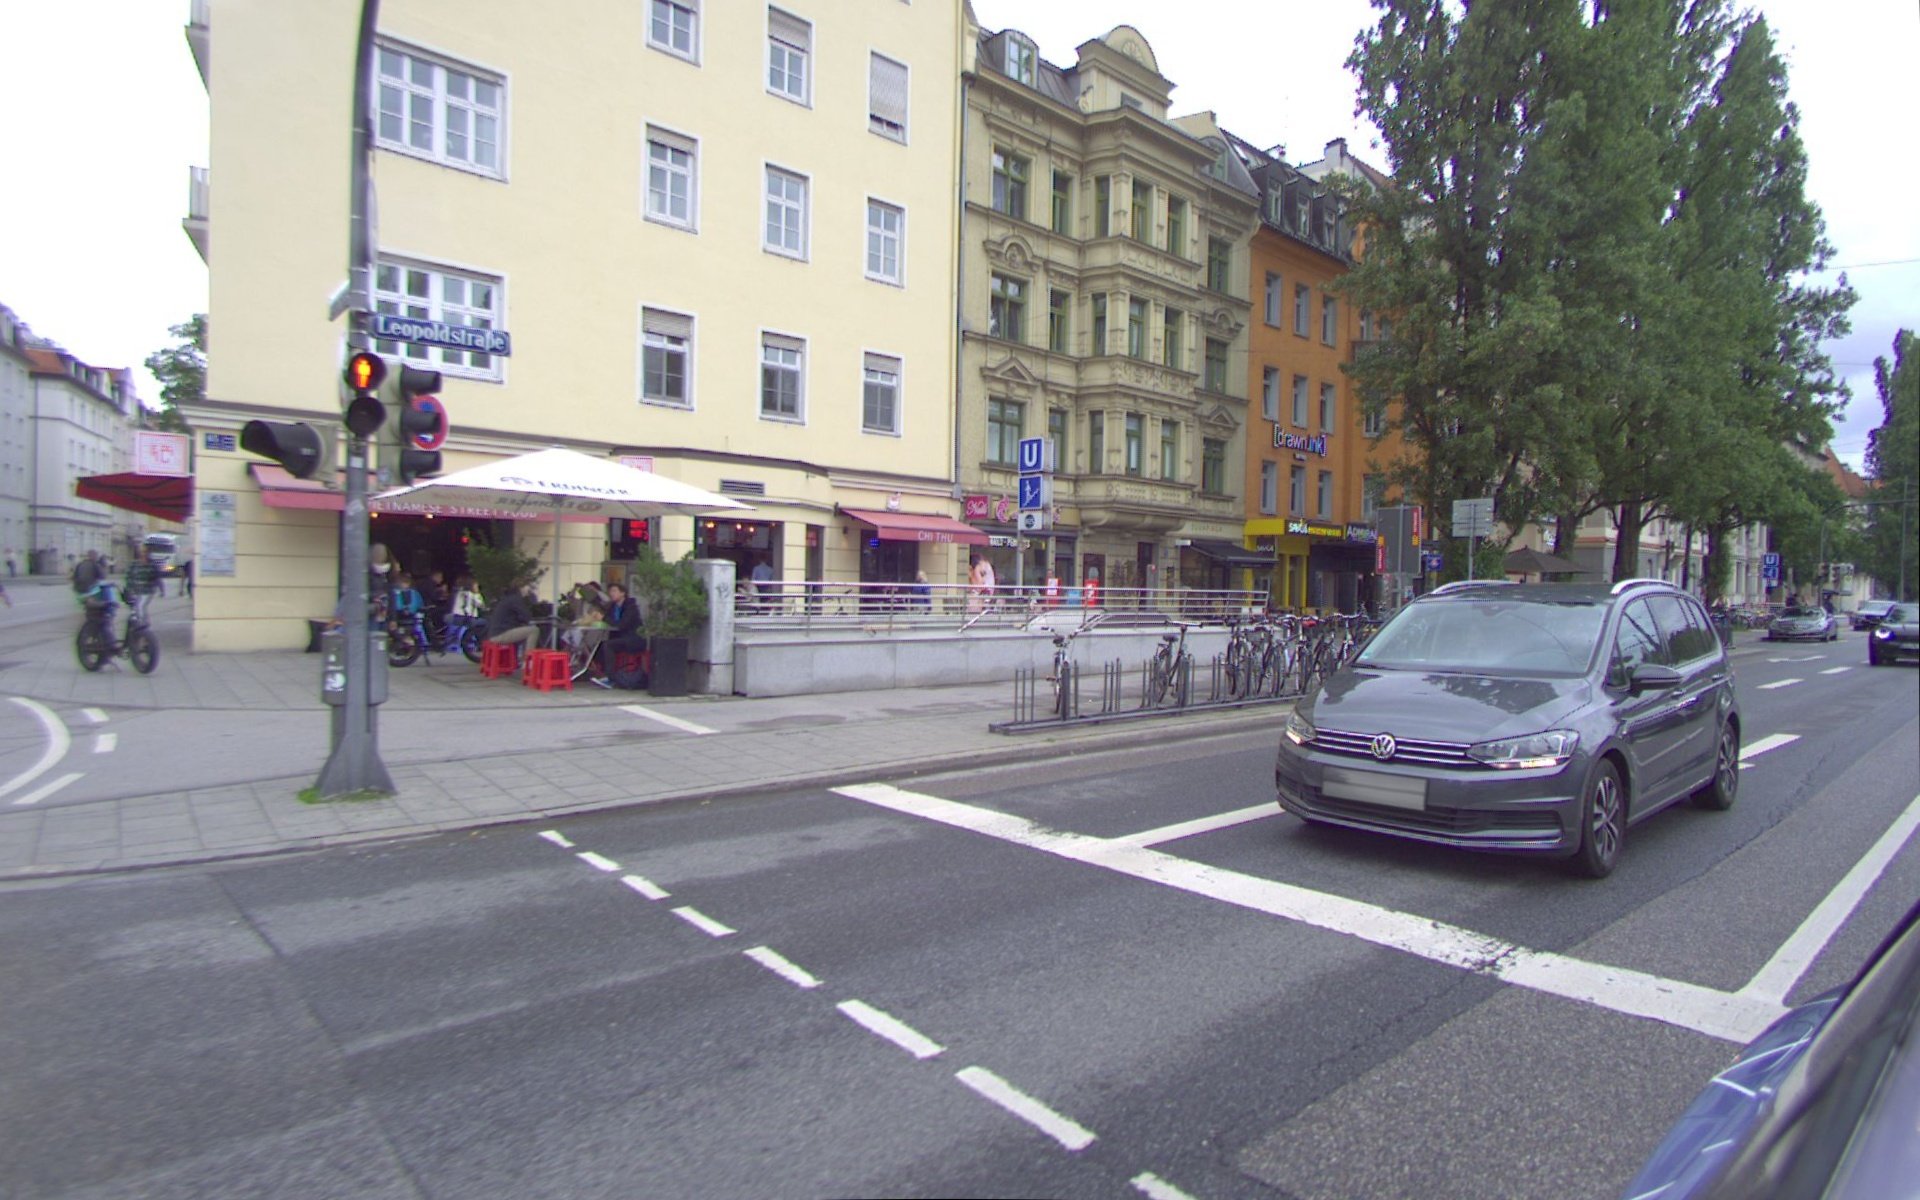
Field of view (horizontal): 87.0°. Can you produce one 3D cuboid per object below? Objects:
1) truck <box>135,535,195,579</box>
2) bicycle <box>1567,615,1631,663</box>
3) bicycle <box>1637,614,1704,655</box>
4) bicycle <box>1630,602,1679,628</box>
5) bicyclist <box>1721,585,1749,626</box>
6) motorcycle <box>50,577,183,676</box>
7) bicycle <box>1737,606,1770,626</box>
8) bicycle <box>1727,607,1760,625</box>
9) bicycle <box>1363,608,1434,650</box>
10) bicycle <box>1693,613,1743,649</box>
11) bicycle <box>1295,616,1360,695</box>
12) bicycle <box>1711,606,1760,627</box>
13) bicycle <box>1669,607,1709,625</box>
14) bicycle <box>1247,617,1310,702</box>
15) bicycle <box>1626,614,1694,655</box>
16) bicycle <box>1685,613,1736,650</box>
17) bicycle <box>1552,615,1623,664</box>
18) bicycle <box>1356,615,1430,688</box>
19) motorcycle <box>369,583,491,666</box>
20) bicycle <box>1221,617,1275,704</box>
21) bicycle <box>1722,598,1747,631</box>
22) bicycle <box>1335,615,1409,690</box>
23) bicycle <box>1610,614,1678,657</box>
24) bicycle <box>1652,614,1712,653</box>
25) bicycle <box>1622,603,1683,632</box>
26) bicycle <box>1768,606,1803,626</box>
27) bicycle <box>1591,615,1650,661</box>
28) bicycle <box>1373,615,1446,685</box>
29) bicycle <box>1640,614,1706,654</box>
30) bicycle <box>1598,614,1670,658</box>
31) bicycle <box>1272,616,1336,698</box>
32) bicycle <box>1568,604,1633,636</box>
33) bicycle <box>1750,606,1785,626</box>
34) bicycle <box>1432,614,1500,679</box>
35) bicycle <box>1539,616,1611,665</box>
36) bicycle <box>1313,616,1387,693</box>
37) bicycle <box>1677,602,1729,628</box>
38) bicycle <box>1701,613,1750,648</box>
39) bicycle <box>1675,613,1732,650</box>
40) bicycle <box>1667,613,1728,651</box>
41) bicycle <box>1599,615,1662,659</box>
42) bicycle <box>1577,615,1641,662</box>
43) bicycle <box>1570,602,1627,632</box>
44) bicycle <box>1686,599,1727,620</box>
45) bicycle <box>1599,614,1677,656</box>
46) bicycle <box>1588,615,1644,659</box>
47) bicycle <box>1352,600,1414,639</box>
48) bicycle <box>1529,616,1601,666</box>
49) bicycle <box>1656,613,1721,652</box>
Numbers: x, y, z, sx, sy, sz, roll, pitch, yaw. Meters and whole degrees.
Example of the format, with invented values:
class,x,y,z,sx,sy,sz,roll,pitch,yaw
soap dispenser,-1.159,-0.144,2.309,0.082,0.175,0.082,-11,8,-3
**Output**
class,x,y,z,sx,sy,sz,roll,pitch,yaw
truck,-78.568,-4.164,100.333,2.855,3.963,18.915,0,1,-33
bicycle,14.542,0.868,23.079,0.319,1.008,1.841,2,0,2
bicycle,18.708,0.882,26.680,0.368,1.008,1.843,2,0,-3
bicycle,31.660,0.679,46.147,0.439,1.123,1.802,1,0,-38
bicyclist,31.447,0.215,41.051,0.923,1.623,0.681,1,1,-41
motorcycle,-11.058,0.324,13.263,1.745,1.215,0.538,1,1,20
bicycle,43.246,0.864,55.144,1.801,1.036,0.393,0,0,-14
bicycle,42.990,0.875,55.518,1.801,0.990,0.393,0,0,-14
bicycle,11.775,0.763,27.193,1.722,1.059,0.381,1,-1,44
bicycle,22.326,0.892,29.836,0.369,1.008,1.836,1,0,10
bicycle,5.421,0.790,15.012,0.341,1.008,1.841,1,2,2
bicycle,37.085,0.773,48.391,0.385,0.928,1.837,0,0,-39
bicycle,35.761,0.784,49.655,0.385,0.845,1.574,0,0,-43
bicycle,4.406,0.787,14.109,0.341,1.008,1.841,1,2,2
bicycle,18.119,0.880,26.240,0.368,1.008,1.843,2,0,-3
bicycle,21.746,0.891,29.359,0.369,1.008,1.836,1,0,10
bicycle,14.003,0.866,22.633,0.319,1.008,1.843,2,0,-4
bicycle,6.937,0.794,16.300,0.341,1.008,1.843,1,2,-1
motorcycle,-7.857,0.341,15.036,1.543,1.171,0.487,0,1,-41
bicycle,3.914,0.787,13.828,0.342,1.008,1.840,2,2,5
bicycle,31.478,0.563,41.121,1.747,1.304,0.424,0,1,-40
bicycle,6.432,0.793,15.875,0.341,1.008,1.843,1,2,-1
bicycle,17.049,0.875,25.265,0.319,1.008,1.843,2,0,-3
bicycle,19.680,0.885,27.622,0.368,1.008,1.840,2,0,3
bicycle,26.957,0.675,39.405,0.450,1.067,1.890,0,1,-43
bicycle,44.052,0.865,54.035,1.801,1.036,0.447,0,0,-14
bicycle,15.434,0.869,23.688,0.319,1.008,1.839,1,0,6
bicycle,7.473,0.797,16.897,0.341,1.008,1.843,1,2,-1
bicycle,19.108,0.884,27.176,0.368,1.008,1.843,2,0,-3
bicycle,16.559,0.874,24.911,0.318,1.008,1.845,2,0,-9
bicycle,4.929,0.789,14.582,0.341,1.008,1.841,1,2,2
bicycle,22.652,0.697,35.830,0.450,1.067,1.892,1,1,-38
bicycle,43.581,0.871,54.627,1.801,1.036,0.447,0,0,-14
bicycle,9.050,0.802,18.156,0.341,1.008,1.841,1,2,3
bicycle,13.517,0.865,22.292,0.319,1.008,1.843,2,0,-4
bicycle,5.926,0.792,15.461,0.341,1.008,1.843,1,2,-1
bicycle,32.836,0.666,44.758,0.439,1.124,1.801,1,-1,-38
bicycle,22.830,0.893,30.214,0.369,1.008,1.836,1,0,10
bicycle,21.217,0.889,28.929,0.368,1.008,1.840,2,0,4
bicycle,20.687,0.887,28.415,0.368,1.008,1.841,2,0,1
bicycle,16.140,0.872,24.415,0.319,1.008,1.841,2,0,2
bicycle,15.037,0.869,23.486,0.319,1.008,1.841,2,0,2
bicycle,25.723,0.688,40.814,0.450,1.127,1.890,0,1,-43
bicycle,42.096,0.514,57.051,1.855,1.169,0.464,0,0,8
bicycle,17.435,0.875,26.074,0.367,1.008,1.846,2,0,-16
bicycle,15.747,0.872,24.340,0.319,1.008,1.838,1,0,6
bicycle,11.879,0.530,28.486,0.379,1.059,1.730,2,-1,-29
bicycle,12.977,0.863,21.760,0.319,1.008,1.843,2,0,-4
bicycle,20.144,0.886,28.021,0.368,1.008,1.843,2,0,-2
